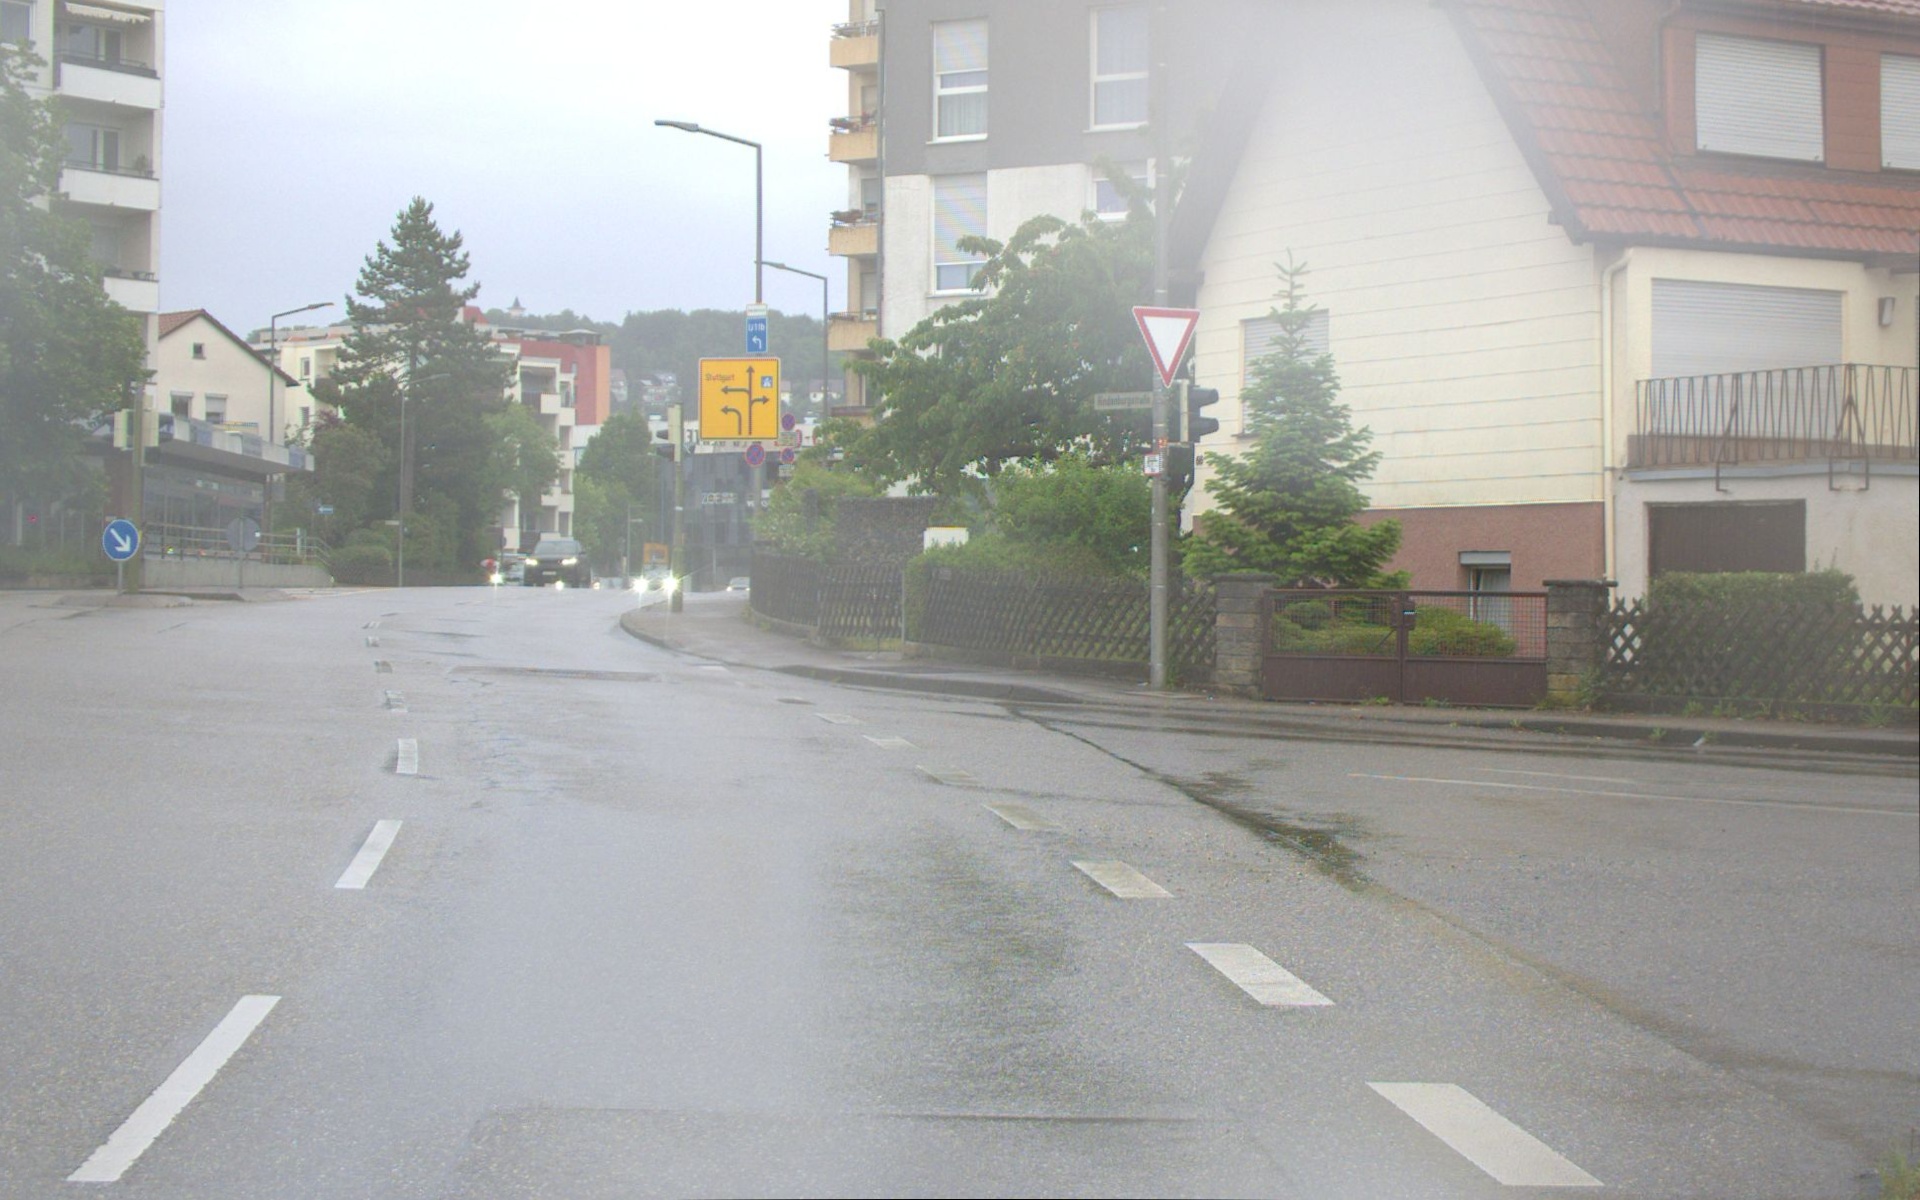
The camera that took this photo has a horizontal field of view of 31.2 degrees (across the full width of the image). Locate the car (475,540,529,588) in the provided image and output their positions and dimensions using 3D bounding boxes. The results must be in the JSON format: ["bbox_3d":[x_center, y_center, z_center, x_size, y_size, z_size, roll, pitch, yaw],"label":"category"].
[{"bbox_3d":[-18.881,-1.485,141.823,1.993,1.897,4.001,1,1,-5],"label":"car"}]

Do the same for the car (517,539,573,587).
[{"bbox_3d":[-15.390,-1.374,127.576,1.993,1.731,5.182,1,1,-7],"label":"car"}]

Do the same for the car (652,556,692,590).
[{"bbox_3d":[-14.559,-1.348,173.755,1.993,1.673,4.001,1,1,-5],"label":"car"}]
